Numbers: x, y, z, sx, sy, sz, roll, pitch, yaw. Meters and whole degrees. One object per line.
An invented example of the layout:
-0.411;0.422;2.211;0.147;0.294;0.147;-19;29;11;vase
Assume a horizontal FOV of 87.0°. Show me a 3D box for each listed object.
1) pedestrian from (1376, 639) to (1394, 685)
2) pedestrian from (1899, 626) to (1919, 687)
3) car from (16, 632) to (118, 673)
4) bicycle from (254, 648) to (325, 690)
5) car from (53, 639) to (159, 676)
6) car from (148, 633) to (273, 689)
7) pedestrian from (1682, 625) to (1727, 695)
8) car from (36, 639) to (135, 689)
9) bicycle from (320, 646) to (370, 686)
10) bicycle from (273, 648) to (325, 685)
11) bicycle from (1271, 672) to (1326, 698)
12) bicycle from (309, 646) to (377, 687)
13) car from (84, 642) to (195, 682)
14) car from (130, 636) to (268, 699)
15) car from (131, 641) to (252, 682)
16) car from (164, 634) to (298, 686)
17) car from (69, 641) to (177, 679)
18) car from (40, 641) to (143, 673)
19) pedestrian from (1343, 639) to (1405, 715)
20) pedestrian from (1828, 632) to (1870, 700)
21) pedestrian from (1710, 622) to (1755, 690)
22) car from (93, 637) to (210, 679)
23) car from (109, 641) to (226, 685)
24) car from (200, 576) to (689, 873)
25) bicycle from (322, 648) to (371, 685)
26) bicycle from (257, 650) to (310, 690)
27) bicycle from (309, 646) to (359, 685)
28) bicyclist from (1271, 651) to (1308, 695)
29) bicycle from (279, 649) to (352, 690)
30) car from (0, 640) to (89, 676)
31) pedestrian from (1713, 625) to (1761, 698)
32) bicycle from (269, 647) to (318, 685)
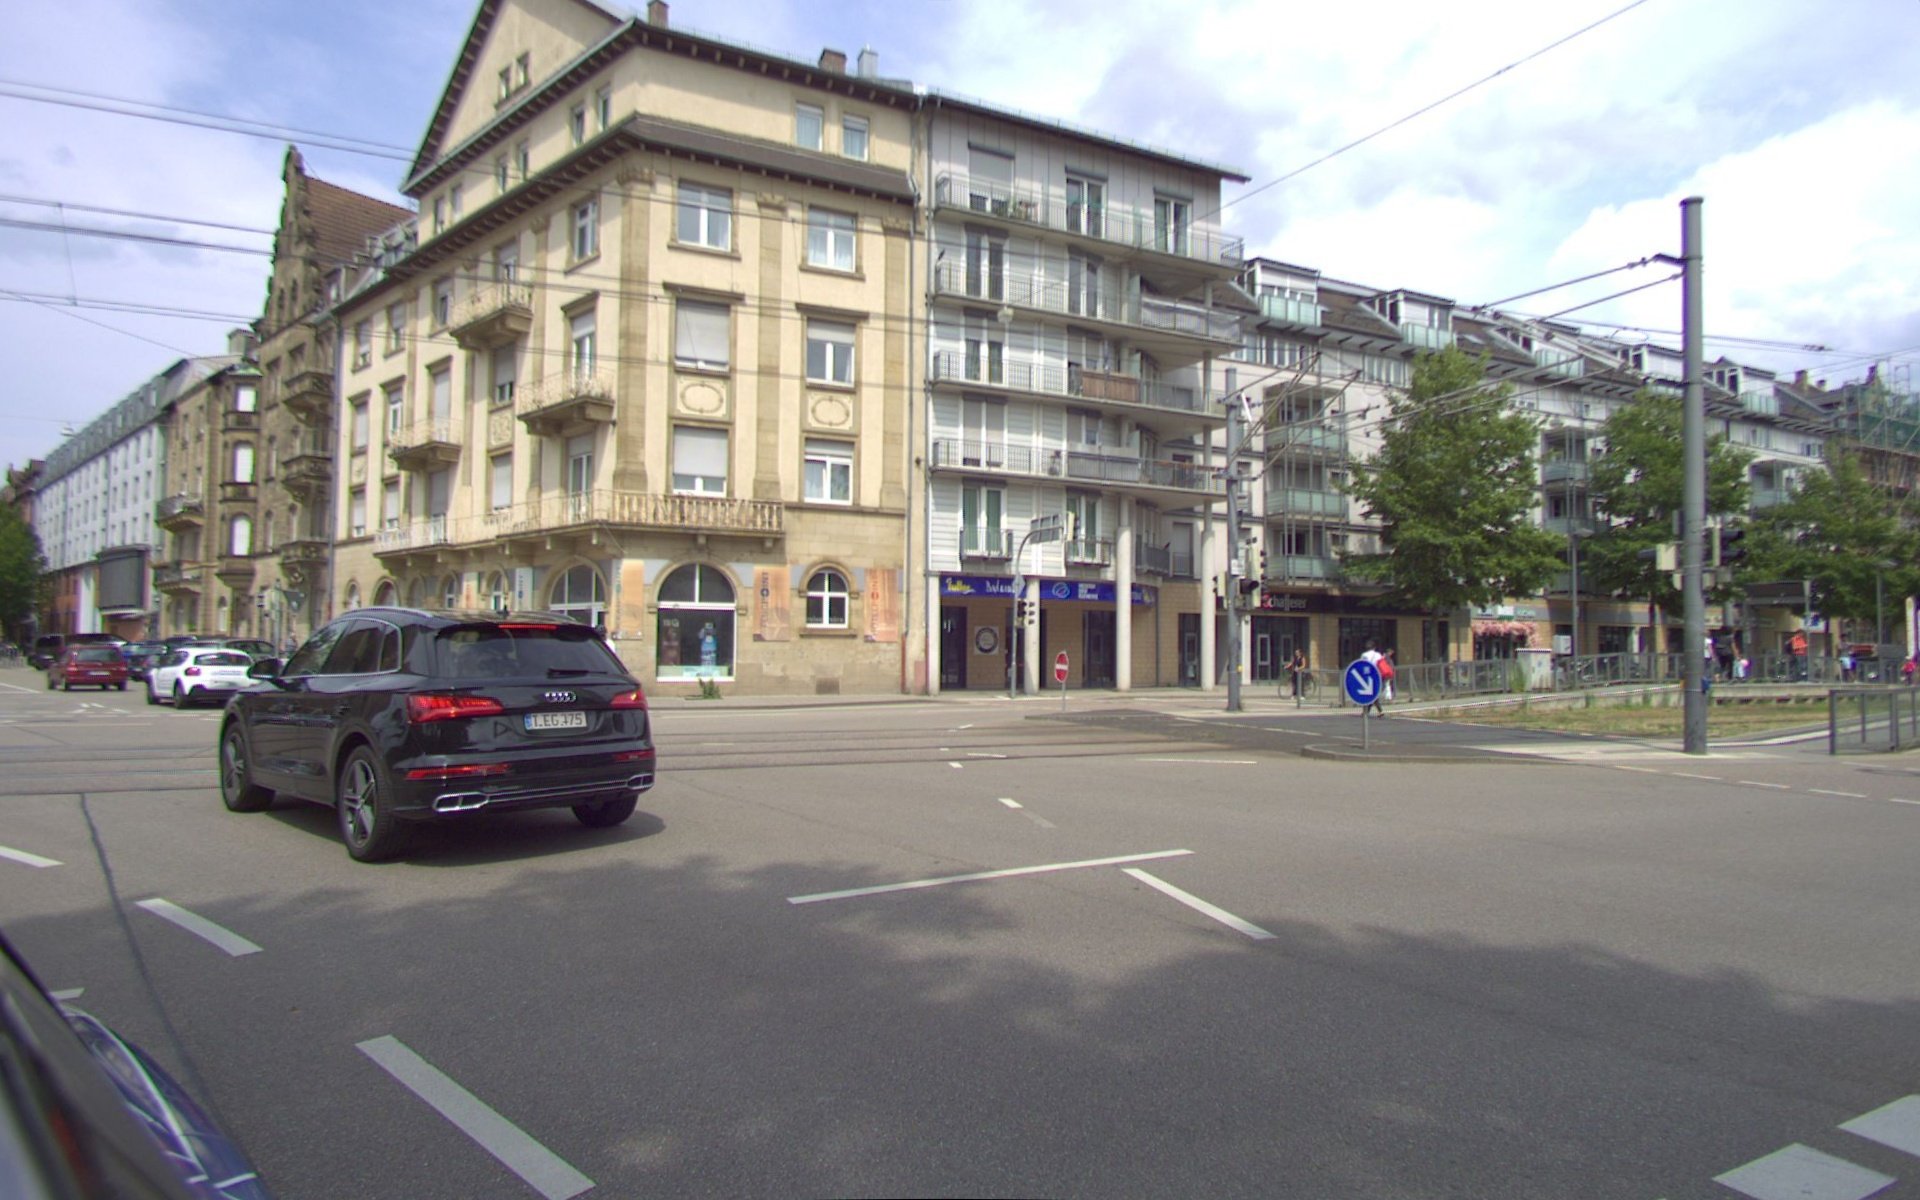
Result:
16.361;2.376;38.945;0.557;1.735;0.519;-1;-3;18;pedestrian
32.220;1.896;33.933;0.744;2.029;0.763;2;-3;-25;pedestrian
-46.647;2.698;52.966;1.738;1.908;3.821;-3;-1;6;car
-20.908;2.135;31.605;0.397;1.201;1.799;-2;0;37;bicycle
-41.971;2.800;49.854;1.738;1.547;3.821;-3;-1;6;car
-27.984;2.229;37.950;1.735;1.832;3.826;-3;-1;2;car
22.207;1.783;30.192;0.744;2.029;0.763;2;-3;-25;pedestrian
-28.849;2.092;33.354;3.996;1.535;1.745;-2;-5;39;car
-19.950;2.134;32.860;0.396;1.201;1.330;-2;-1;34;bicycle
-21.707;2.173;33.242;0.397;1.201;1.328;-2;-4;39;bicycle
11.295;2.819;33.785;1.760;0.822;0.654;2;-3;-25;bicycle
-19.644;2.101;32.237;0.397;1.201;1.807;-3;-3;40;bicycle
-37.269;2.790;46.102;1.738;1.547;3.821;-3;-1;6;car
-19.161;1.665;25.415;4.235;1.442;1.718;-2;-4;38;car
-30.030;2.392;39.697;1.735;1.547;3.825;0;-3;2;car
-25.643;2.070;35.800;1.735;1.601;4.034;-3;-1;2;car
-39.377;2.805;47.721;1.738;1.547;3.821;-3;-1;6;car
-44.095;2.879;51.497;1.738;1.547;3.821;0;-3;6;car
8.738;1.611;21.381;0.824;1.564;0.870;2;-3;-26;pedestrian
30.348;2.244;34.544;0.744;2.267;0.763;2;-3;-25;pedestrian
23.353;1.700;30.611;0.744;2.029;0.763;2;-3;-25;pedestrian
-34.696;2.445;43.542;1.738;1.547;3.821;-3;-1;6;car
-32.521;2.568;41.667;1.735;1.547;3.826;-3;-1;2;car
-4.159;0.776;7.826;4.424;1.660;1.803;-2;-3;41;car
-20.511;2.225;33.864;0.397;1.201;1.328;-2;-4;39;bicycle
-21.359;2.188;31.964;0.397;1.201;1.329;-2;-2;37;bicycle
-20.493;2.131;33.164;0.396;1.201;1.330;-2;-1;34;bicycle
10.952;2.424;33.641;0.983;1.455;0.643;2;-3;-25;bicyclist
-19.680;2.109;30.941;1.844;1.201;0.457;1;-3;-30;bicycle
-49.173;3.091;54.093;1.738;1.698;3.821;-3;-1;6;car
22.124;1.740;28.815;0.744;2.029;0.763;2;-3;-25;pedestrian
-22.094;2.175;33.562;0.397;1.201;1.330;-2;-2;35;bicycle
